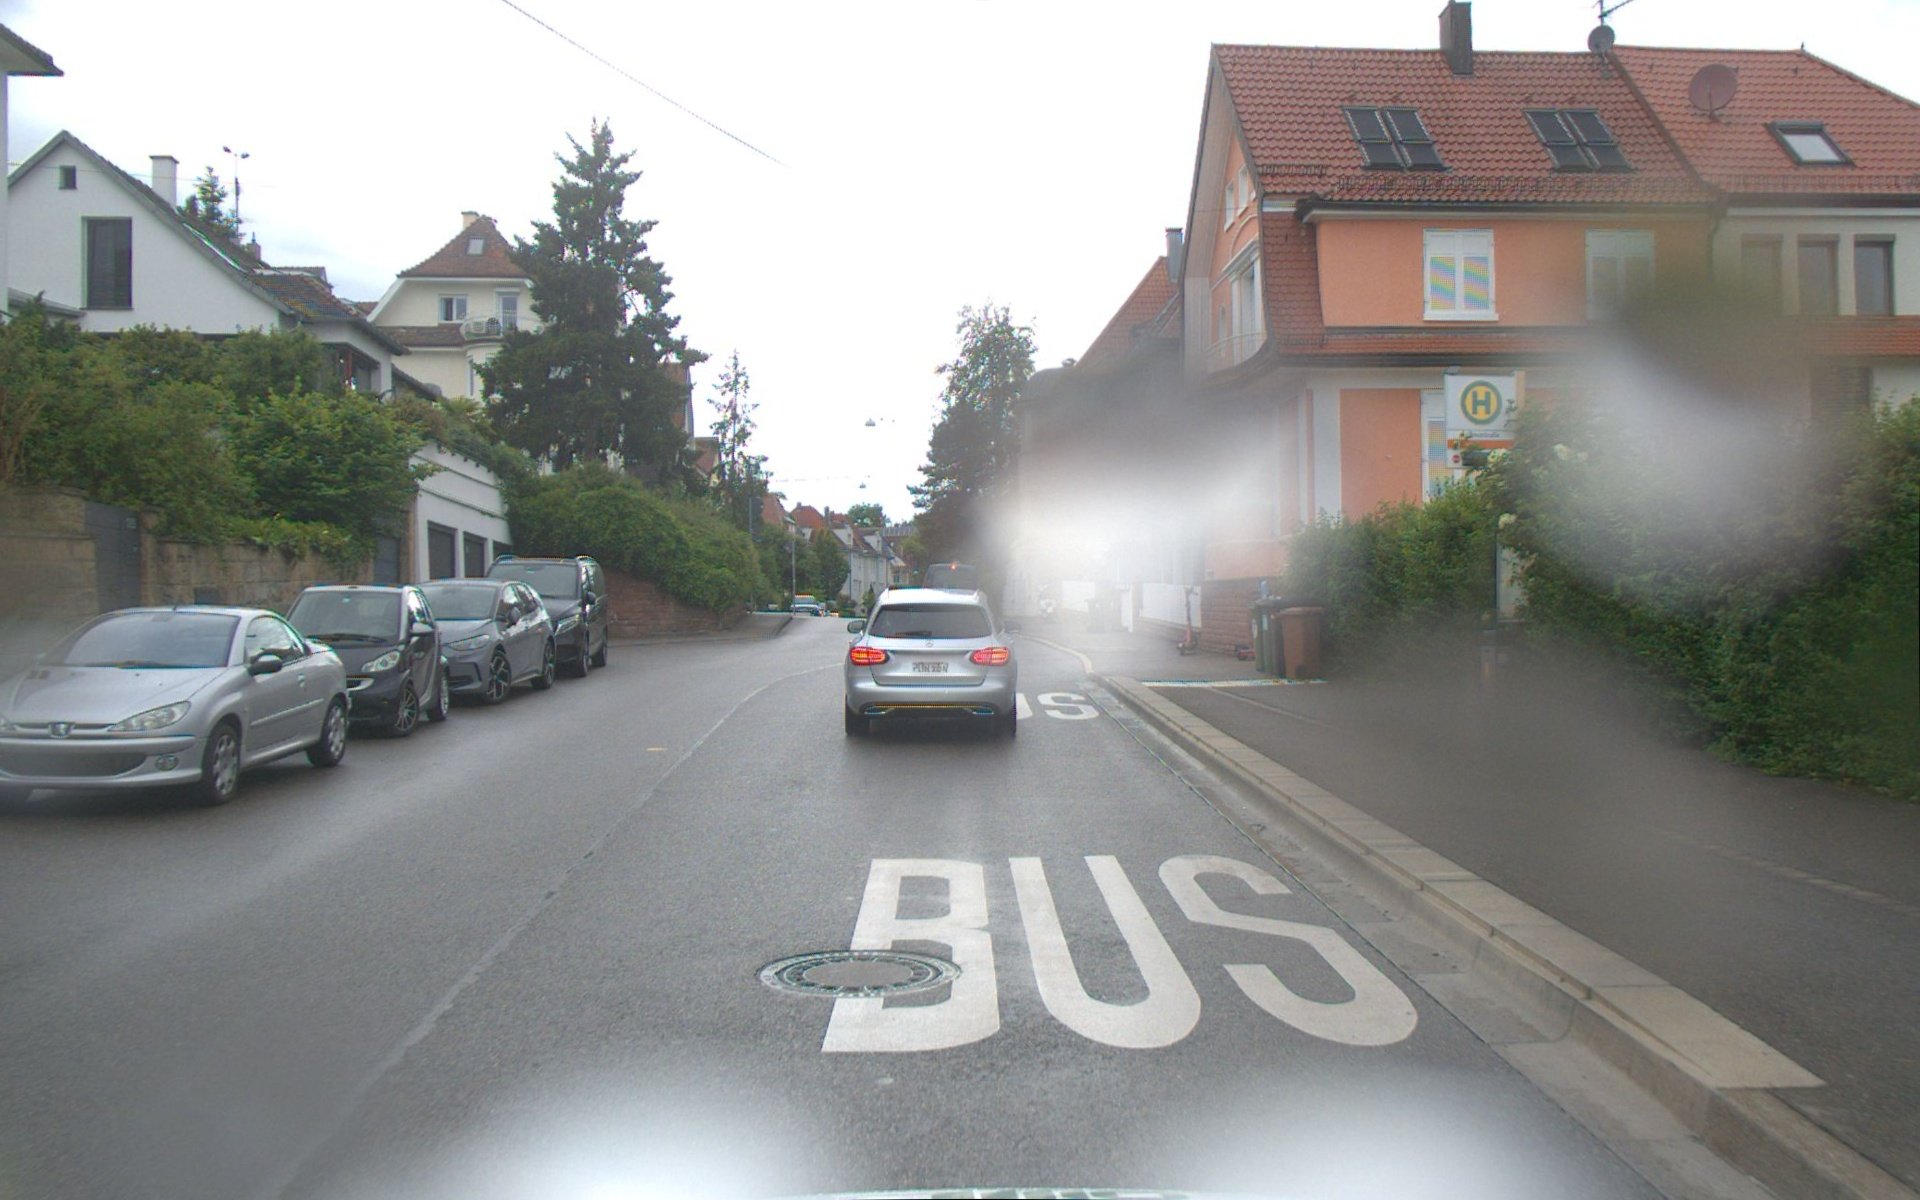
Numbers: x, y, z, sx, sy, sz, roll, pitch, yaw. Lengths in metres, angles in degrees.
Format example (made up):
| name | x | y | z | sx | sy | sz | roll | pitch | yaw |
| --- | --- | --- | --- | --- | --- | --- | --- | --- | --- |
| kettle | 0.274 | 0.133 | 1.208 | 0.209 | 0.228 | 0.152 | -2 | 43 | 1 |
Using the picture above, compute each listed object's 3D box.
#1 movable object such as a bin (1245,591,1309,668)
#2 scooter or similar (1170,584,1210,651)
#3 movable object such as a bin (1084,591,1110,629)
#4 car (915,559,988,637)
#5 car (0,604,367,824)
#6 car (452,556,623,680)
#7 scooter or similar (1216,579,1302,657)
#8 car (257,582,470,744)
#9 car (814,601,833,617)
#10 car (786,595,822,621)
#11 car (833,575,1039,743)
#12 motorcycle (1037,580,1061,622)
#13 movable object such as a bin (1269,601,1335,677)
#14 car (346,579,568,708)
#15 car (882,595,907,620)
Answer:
| name | x | y | z | sx | sy | sz | roll | pitch | yaw |
| --- | --- | --- | --- | --- | --- | --- | --- | --- | --- |
| movable object such as a bin | 4.580 | 0.415 | 23.950 | 0.697 | 1.047 | 0.757 | -3 | 1 | -4 |
| scooter or similar | 4.428 | 0.322 | 31.902 | 0.678 | 1.245 | 1.300 | -1 | 1 | 5 |
| movable object such as a bin | 3.598 | 0.265 | 43.548 | 0.538 | 0.952 | 0.633 | -4 | 1 | -3 |
| car | -0.223 | -0.093 | 43.890 | 1.787 | 1.915 | 4.095 | -2 | 1 | -1 |
| car | -6.005 | 0.759 | 12.839 | 1.577 | 1.361 | 3.839 | 0 | 1 | -3 |
| car | -7.052 | 0.235 | 28.182 | 2.088 | 1.892 | 5.586 | 0 | 1 | -7 |
| scooter or similar | 5.090 | 0.308 | 28.192 | 1.234 | 1.245 | 0.694 | -3 | -1 | 30 |
| car | -6.307 | 0.598 | 17.795 | 1.468 | 1.550 | 3.154 | -1 | 1 | -7 |
| car | -12.171 | 0.809 | 147.820 | 1.604 | 1.337 | 3.473 | -1 | 1 | -4 |
| car | -9.564 | 0.498 | 101.552 | 2.075 | 1.497 | 4.014 | -1 | 1 | -4 |
| car | -0.284 | 0.527 | 17.786 | 1.942 | 1.581 | 4.297 | 0 | 1 | -2 |
| motorcycle | 2.854 | 0.028 | 53.269 | 0.570 | 1.283 | 2.331 | -3 | 1 | 0 |
| movable object such as a bin | 4.546 | 0.508 | 21.997 | 0.565 | 0.986 | 0.661 | 0 | 1 | -35 |
| car | -6.625 | 0.502 | 22.277 | 1.860 | 1.541 | 4.340 | 0 | 1 | -3 |
| car | -7.112 | 0.786 | 180.678 | 2.417 | 2.441 | 4.000 | -4 | 1 | 0 |
